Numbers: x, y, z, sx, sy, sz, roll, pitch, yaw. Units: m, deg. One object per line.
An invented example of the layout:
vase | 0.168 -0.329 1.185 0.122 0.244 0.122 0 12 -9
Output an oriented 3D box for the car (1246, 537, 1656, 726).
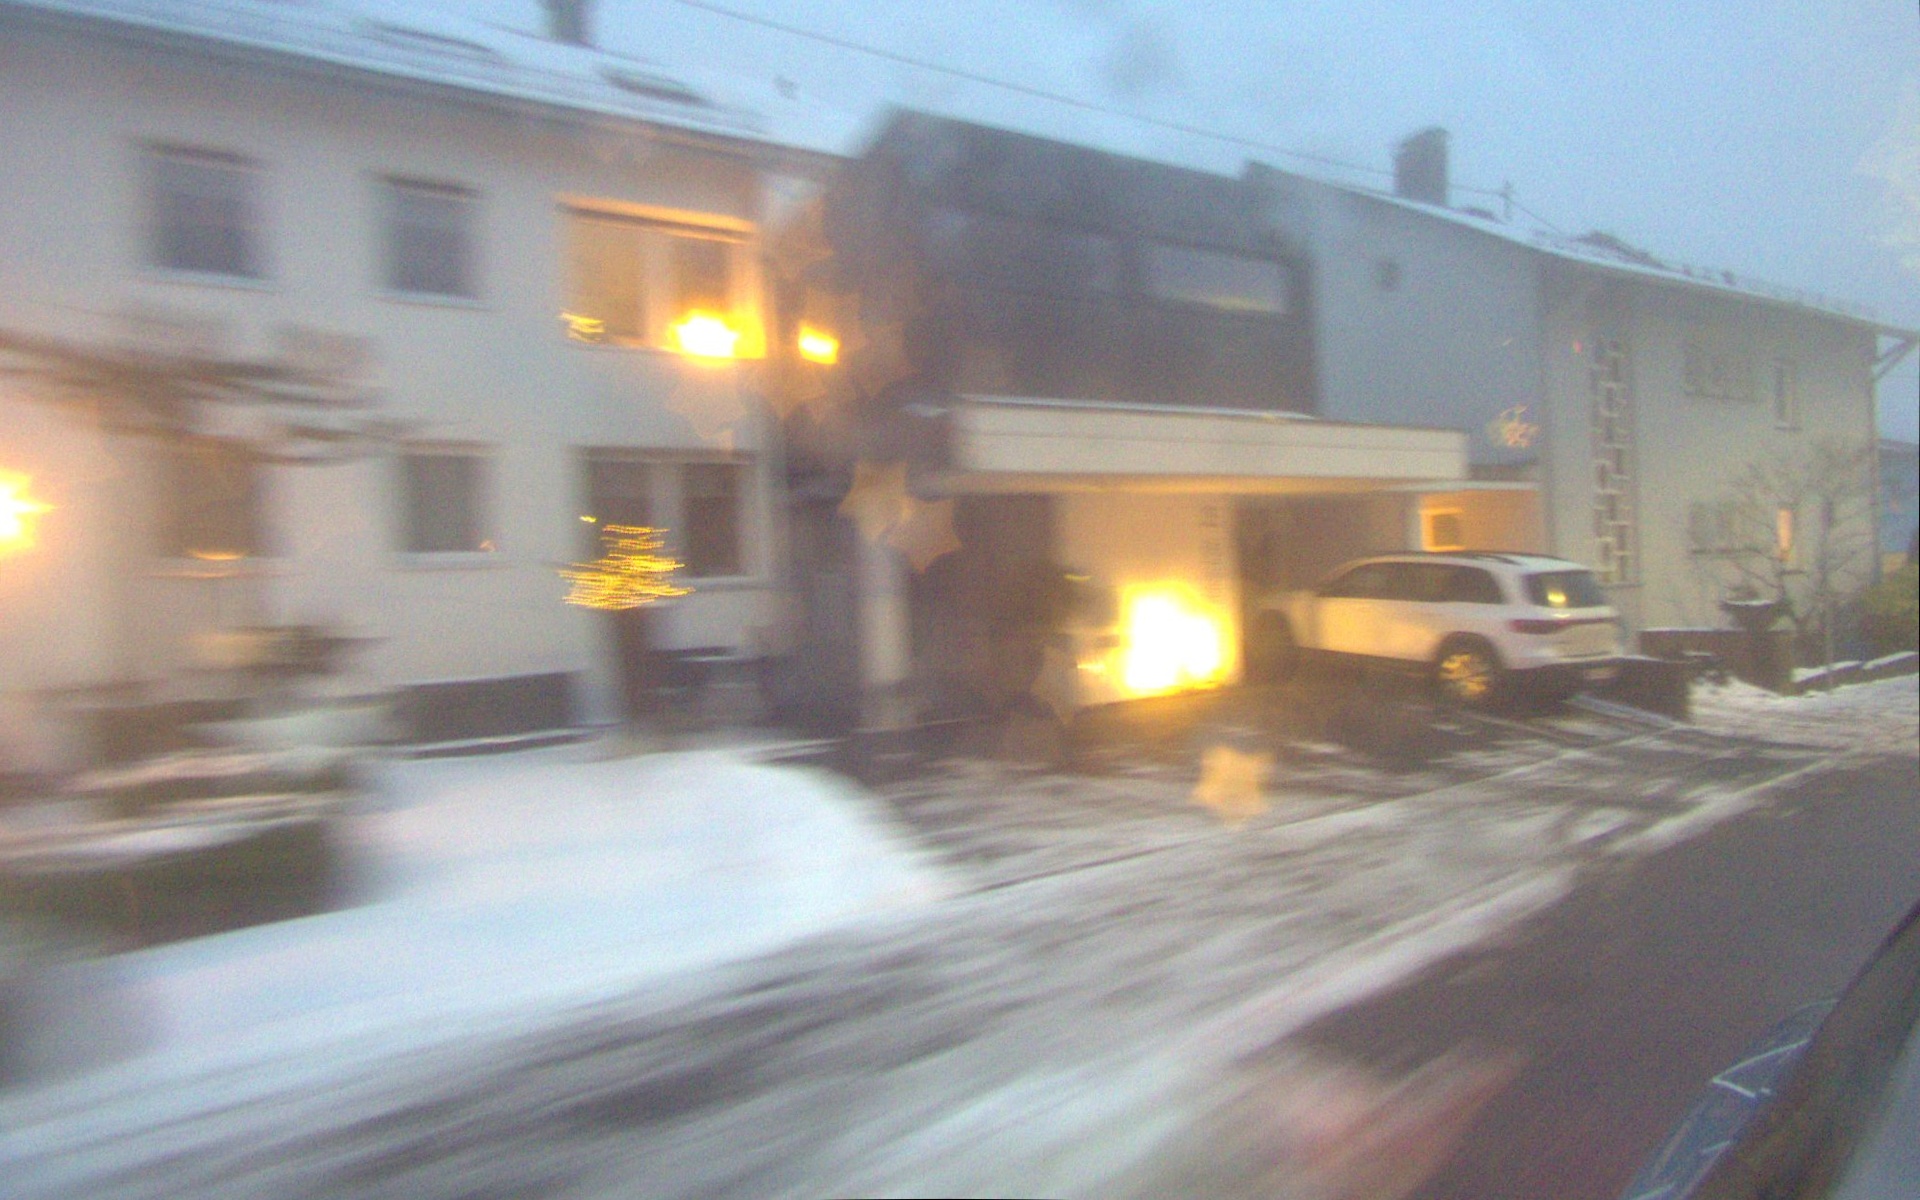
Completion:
car | 5.723 0.251 12.384 1.873 1.881 4.225 -1 2 -29
